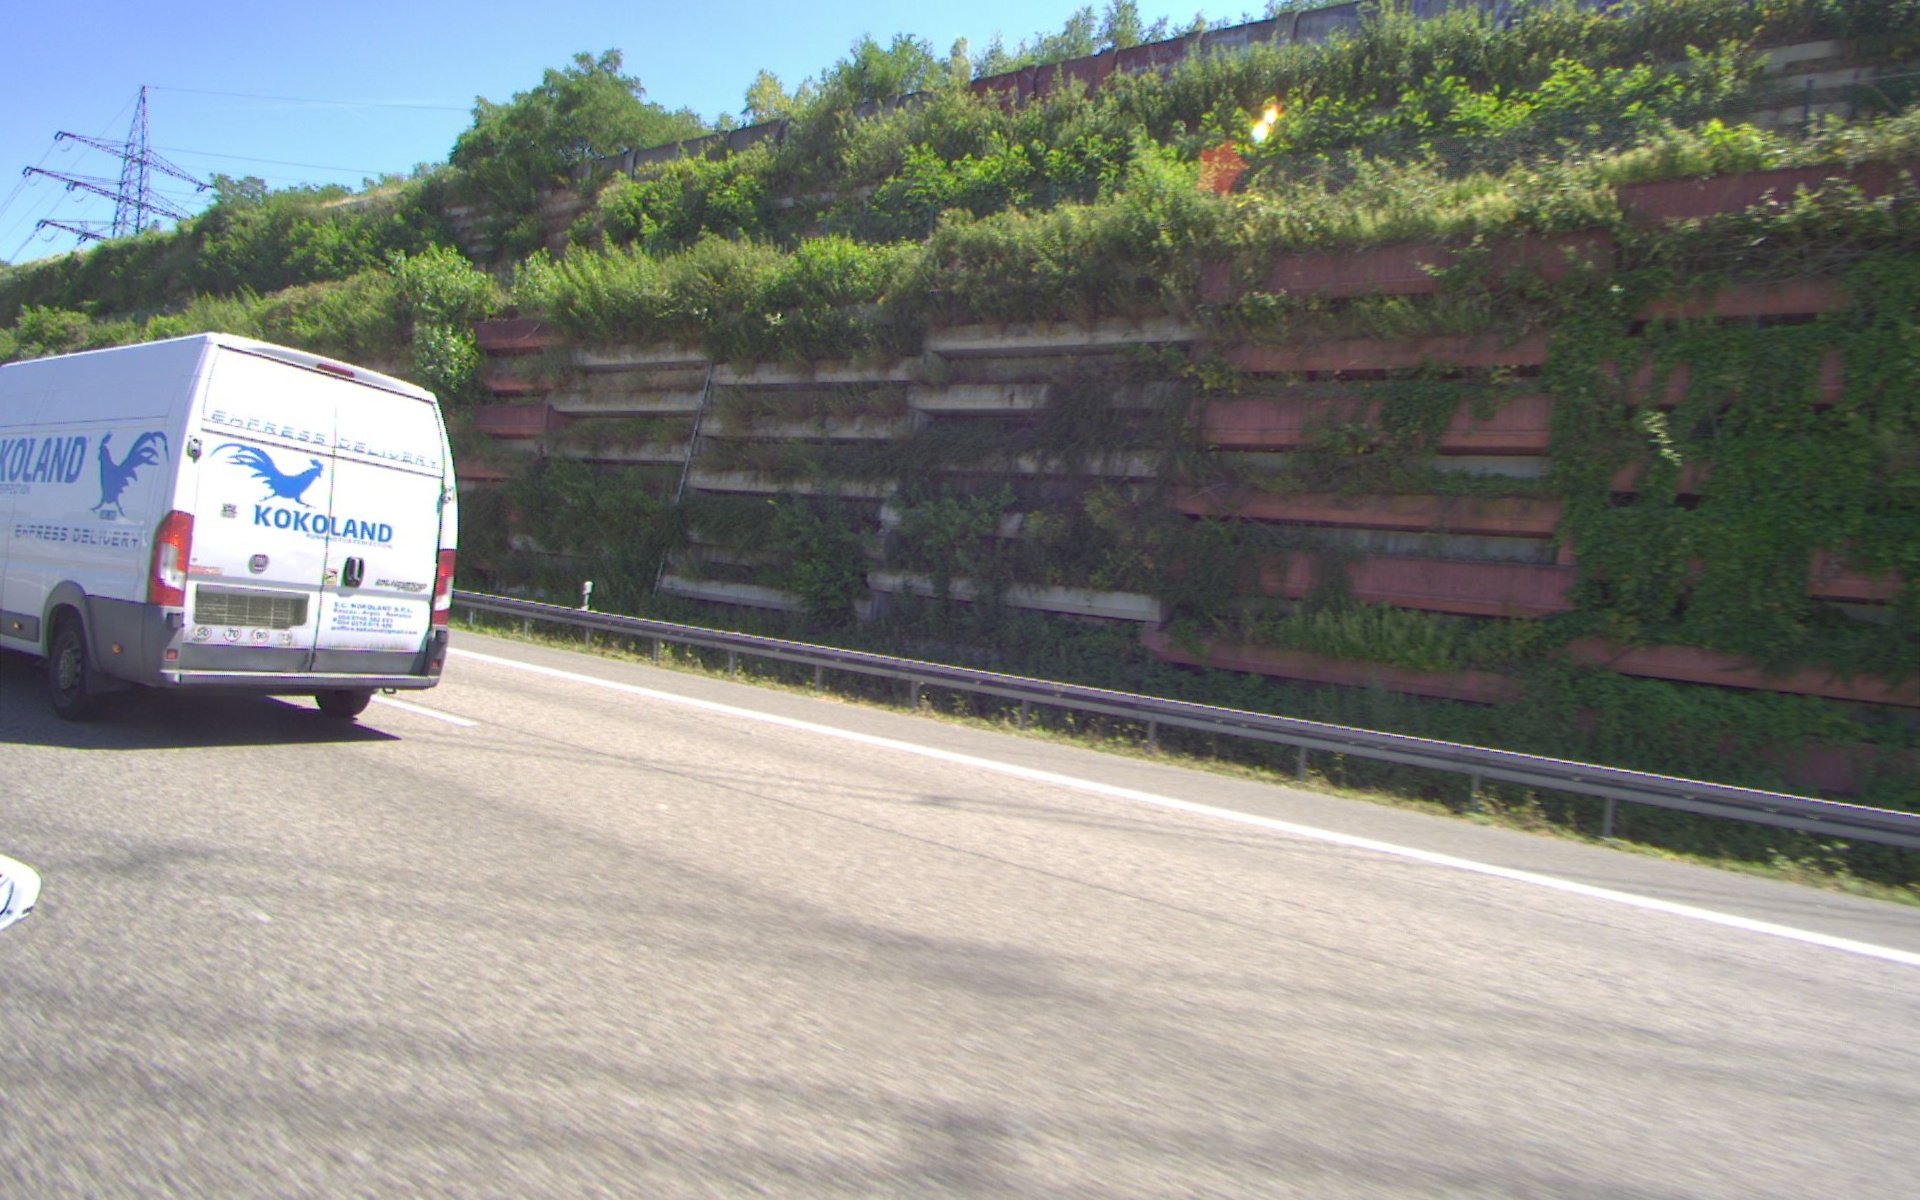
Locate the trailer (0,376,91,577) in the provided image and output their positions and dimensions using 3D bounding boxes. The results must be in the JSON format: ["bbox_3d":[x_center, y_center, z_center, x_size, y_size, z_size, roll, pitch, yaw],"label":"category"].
[{"bbox_3d":[-25.717,-3.247,24.624,13.381,4.054,2.648,6,0,32],"label":"trailer"}]

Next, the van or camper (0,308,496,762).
[{"bbox_3d":[-7.181,-0.635,8.819,6.644,2.803,2.099,6,0,31],"label":"van or camper"}]
